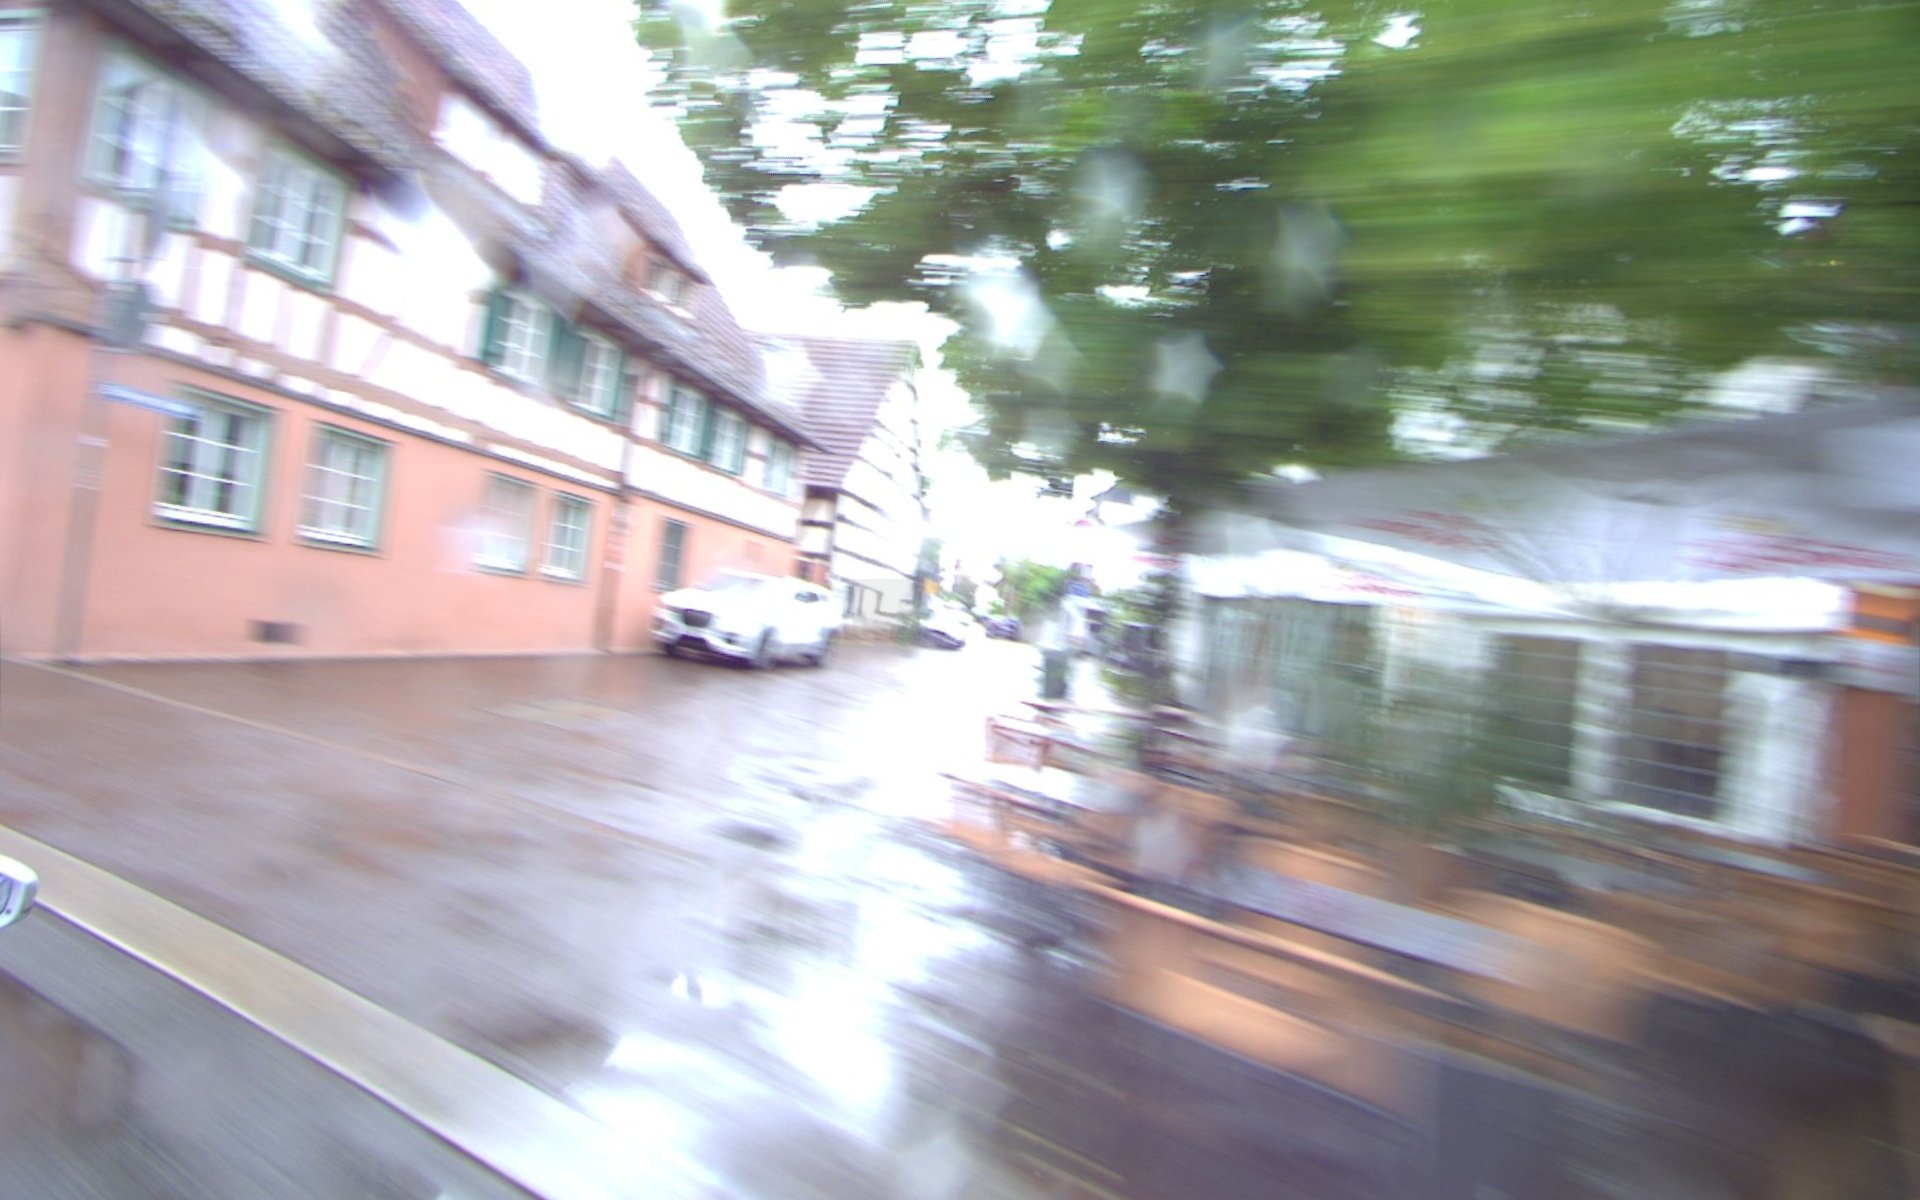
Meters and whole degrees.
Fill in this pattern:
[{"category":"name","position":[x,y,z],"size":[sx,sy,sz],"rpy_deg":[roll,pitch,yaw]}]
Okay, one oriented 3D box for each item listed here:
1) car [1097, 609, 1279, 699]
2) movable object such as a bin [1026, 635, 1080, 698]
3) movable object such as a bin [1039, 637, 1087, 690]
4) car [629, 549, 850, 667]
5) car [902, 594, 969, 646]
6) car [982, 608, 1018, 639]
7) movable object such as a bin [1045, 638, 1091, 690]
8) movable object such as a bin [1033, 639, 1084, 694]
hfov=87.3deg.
[{"category":"car","position":[5.695,1.341,25.425],"size":[4.005,1.867,1.897],"rpy_deg":[5,-1,-4]},{"category":"movable object such as a bin","position":[1.842,1.313,19.823],"size":[0.841,1.123,0.880],"rpy_deg":[6,-2,13]},{"category":"movable object such as a bin","position":[2.226,1.367,21.594],"size":[0.841,1.037,0.698],"rpy_deg":[6,-2,13]},{"category":"car","position":[-3.869,0.228,18.666],"size":[1.962,1.653,4.619],"rpy_deg":[9,0,14]},{"category":"car","position":[-0.907,0.800,40.000],"size":[1.963,1.653,4.618],"rpy_deg":[9,0,5]},{"category":"car","position":[2.584,1.530,66.060],"size":[1.964,1.653,4.616],"rpy_deg":[9,0,1]},{"category":"movable object such as a bin","position":[2.406,1.430,22.319],"size":[0.841,1.037,0.698],"rpy_deg":[6,-2,13]},{"category":"movable object such as a bin","position":[2.044,1.379,20.800],"size":[0.841,1.034,0.831],"rpy_deg":[6,-2,13]}]
